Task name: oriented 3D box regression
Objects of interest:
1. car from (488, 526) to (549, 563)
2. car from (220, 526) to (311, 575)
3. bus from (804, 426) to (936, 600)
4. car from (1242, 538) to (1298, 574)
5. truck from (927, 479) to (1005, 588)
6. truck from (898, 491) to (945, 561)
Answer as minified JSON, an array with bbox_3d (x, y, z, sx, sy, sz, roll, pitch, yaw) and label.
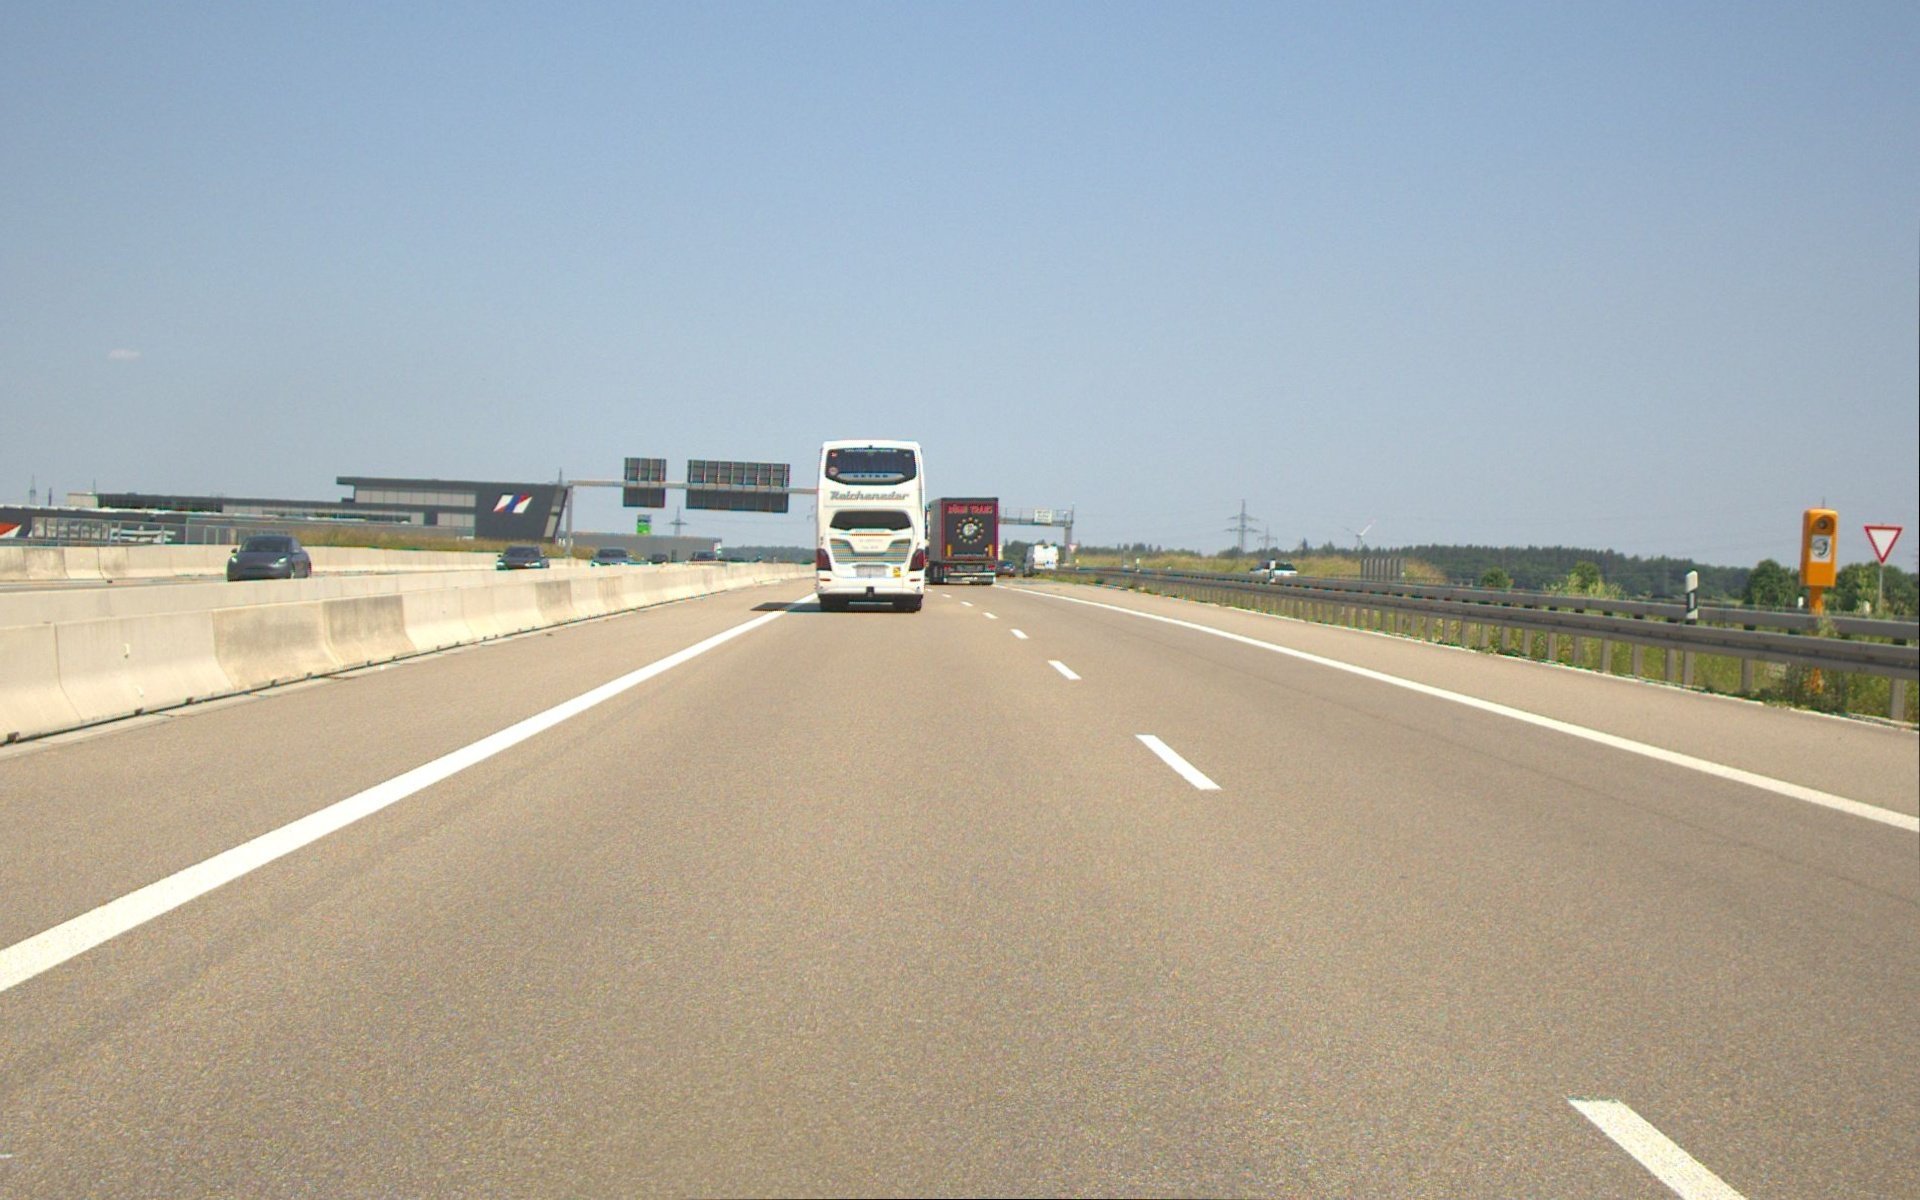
[{"bbox_3d":[-17.827,-2.259,138.930,1.912,1.415,4.909,1,1,-1],"label":"car"},{"bbox_3d":[-21.091,-1.519,104.552,1.911,1.415,4.550,1,1,-1],"label":"car"},{"bbox_3d":[-2.258,-2.101,83.814,2.980,3.961,9.106,1,1,-2],"label":"bus"},{"bbox_3d":[13.675,-1.961,151.883,1.891,1.524,4.262,1,1,-3],"label":"car"},{"bbox_3d":[0.353,-3.024,161.563,3.379,4.449,13.566,2,-1,1],"label":"truck"},{"bbox_3d":[-2.178,-4.150,193.088,2.437,3.776,6.494,1,1,-2],"label":"truck"}]
